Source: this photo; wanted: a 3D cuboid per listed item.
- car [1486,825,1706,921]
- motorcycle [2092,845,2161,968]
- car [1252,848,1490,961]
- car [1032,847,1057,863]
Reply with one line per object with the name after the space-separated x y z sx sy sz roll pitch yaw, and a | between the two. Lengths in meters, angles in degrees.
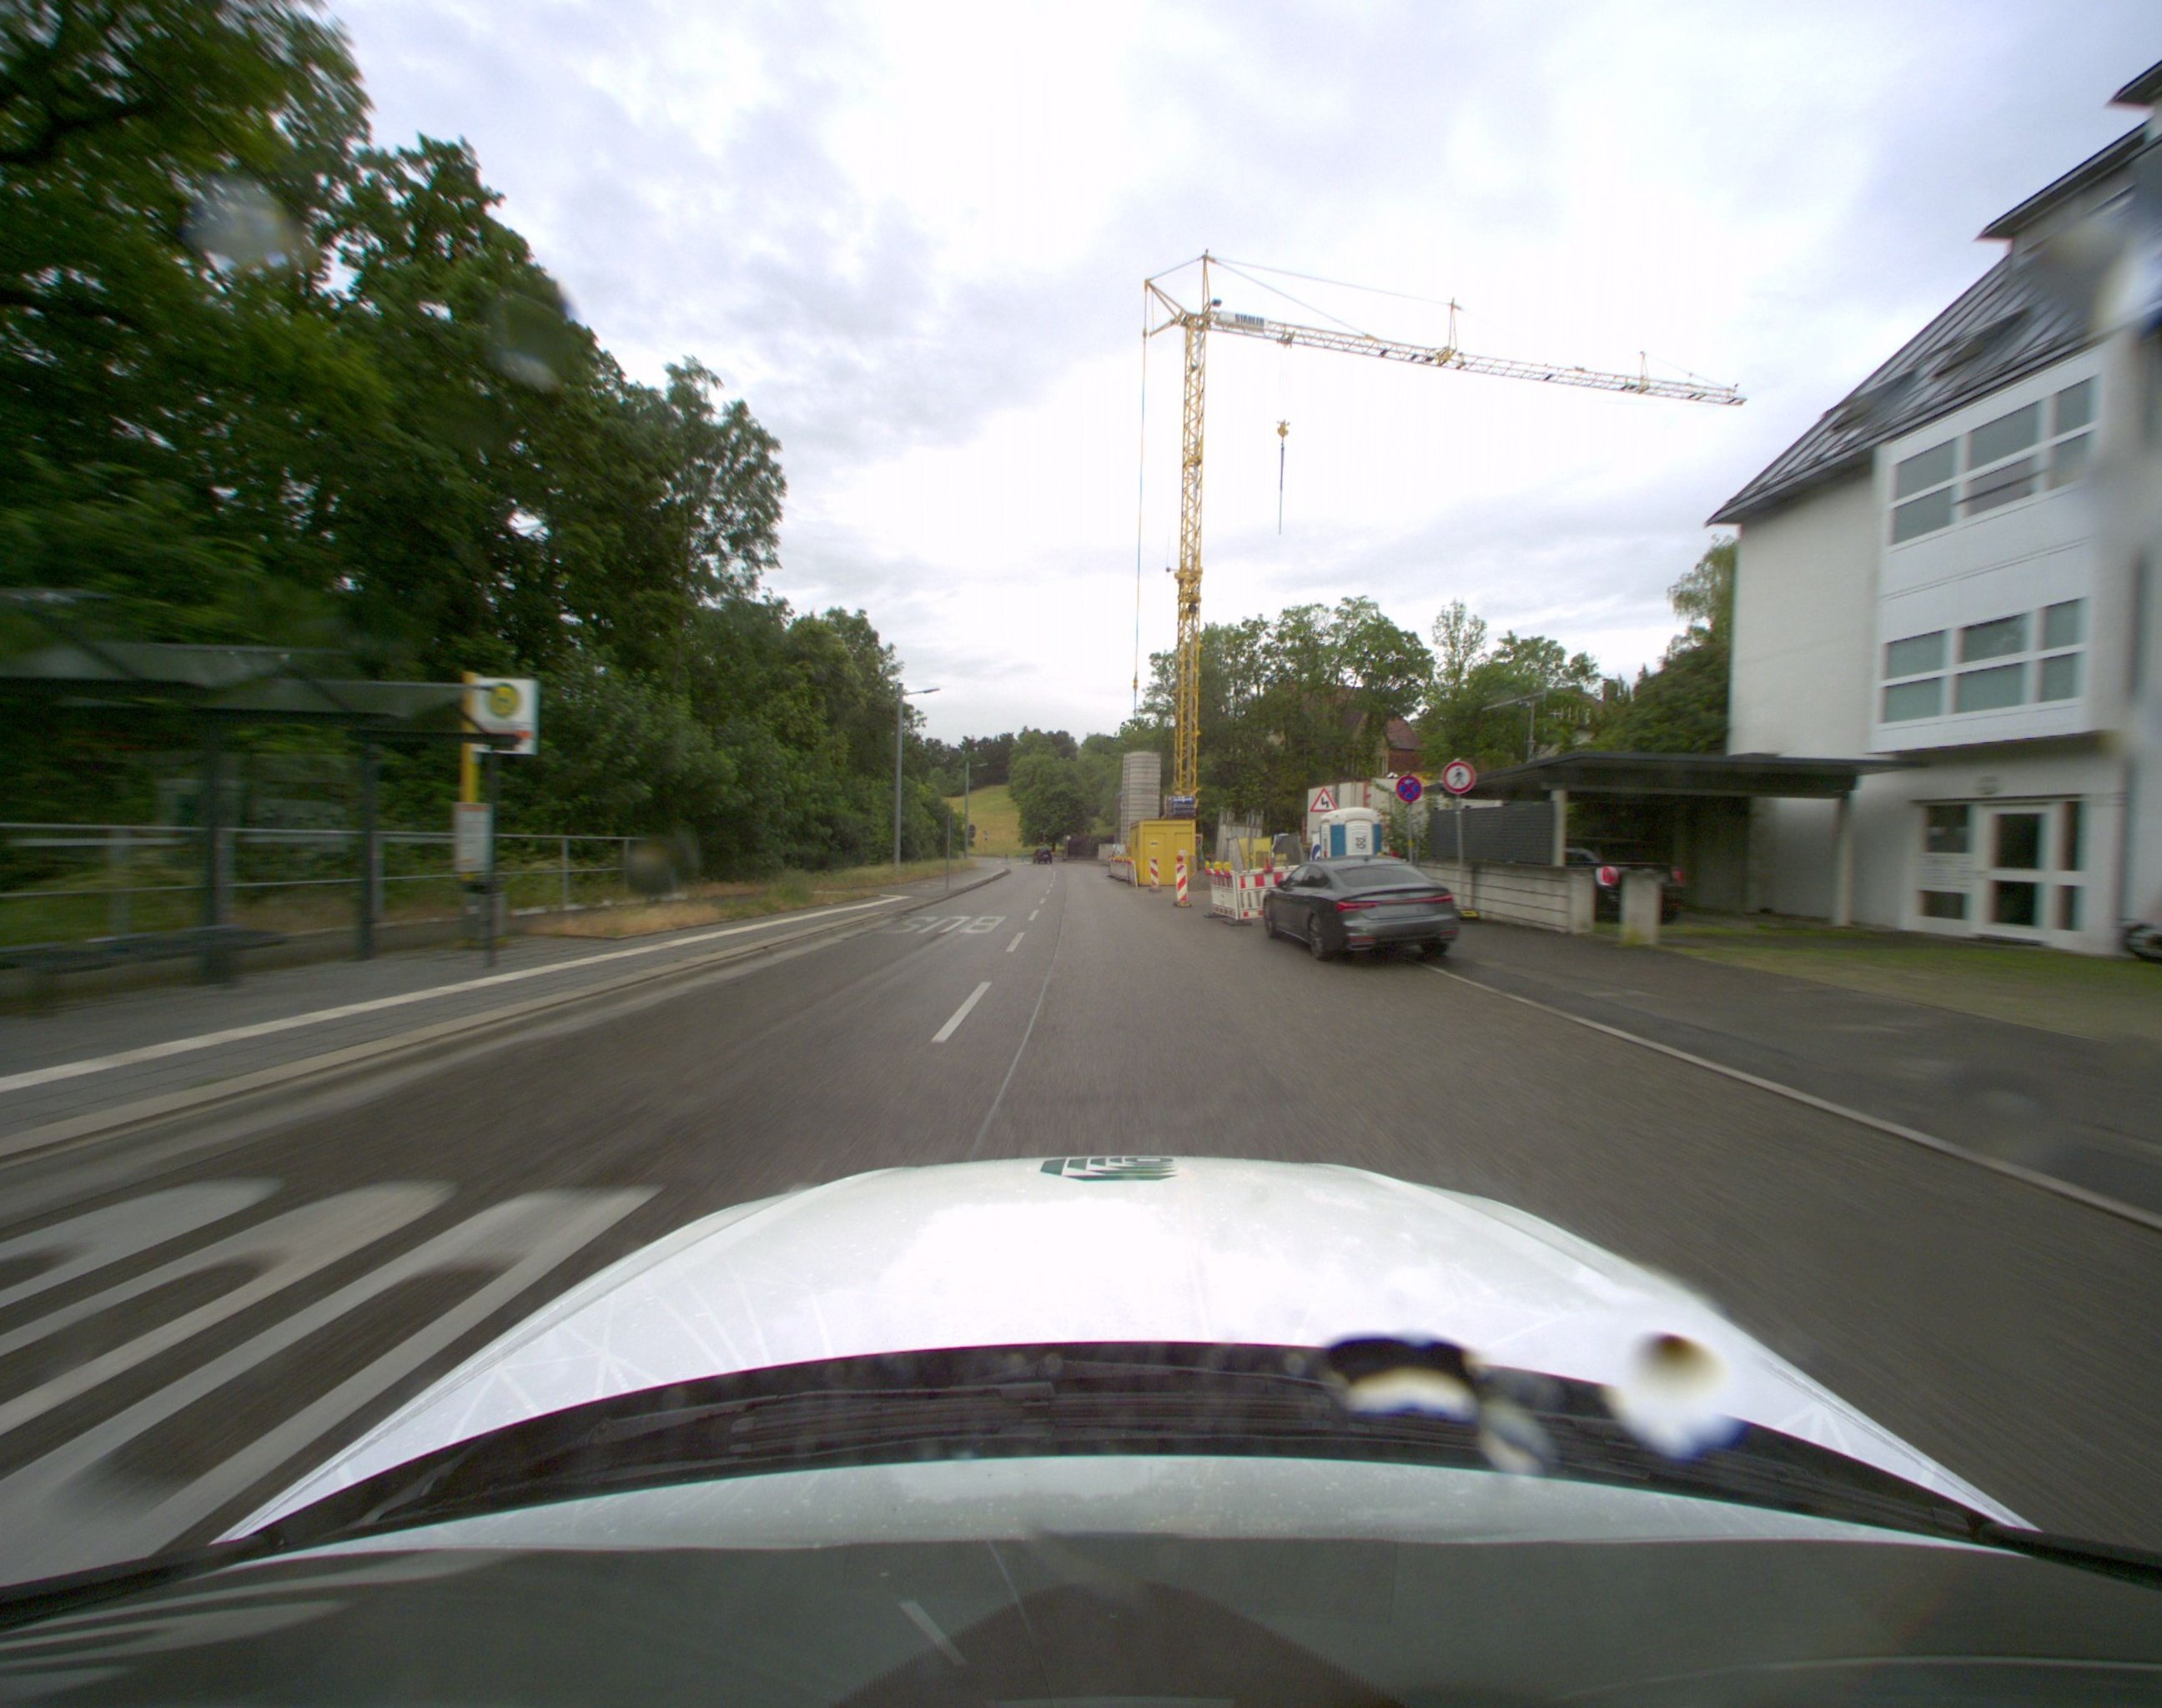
9.366 0.298 15.254 1.688 1.472 4.003 3 0 3 | car
13.137 0.625 9.248 0.793 1.451 2.044 0 0 0 | motorcycle
4.172 0.616 12.693 1.926 1.422 4.835 0 0 -1 | car
-4.181 0.130 93.077 1.936 1.751 3.978 0 1 -17 | car
